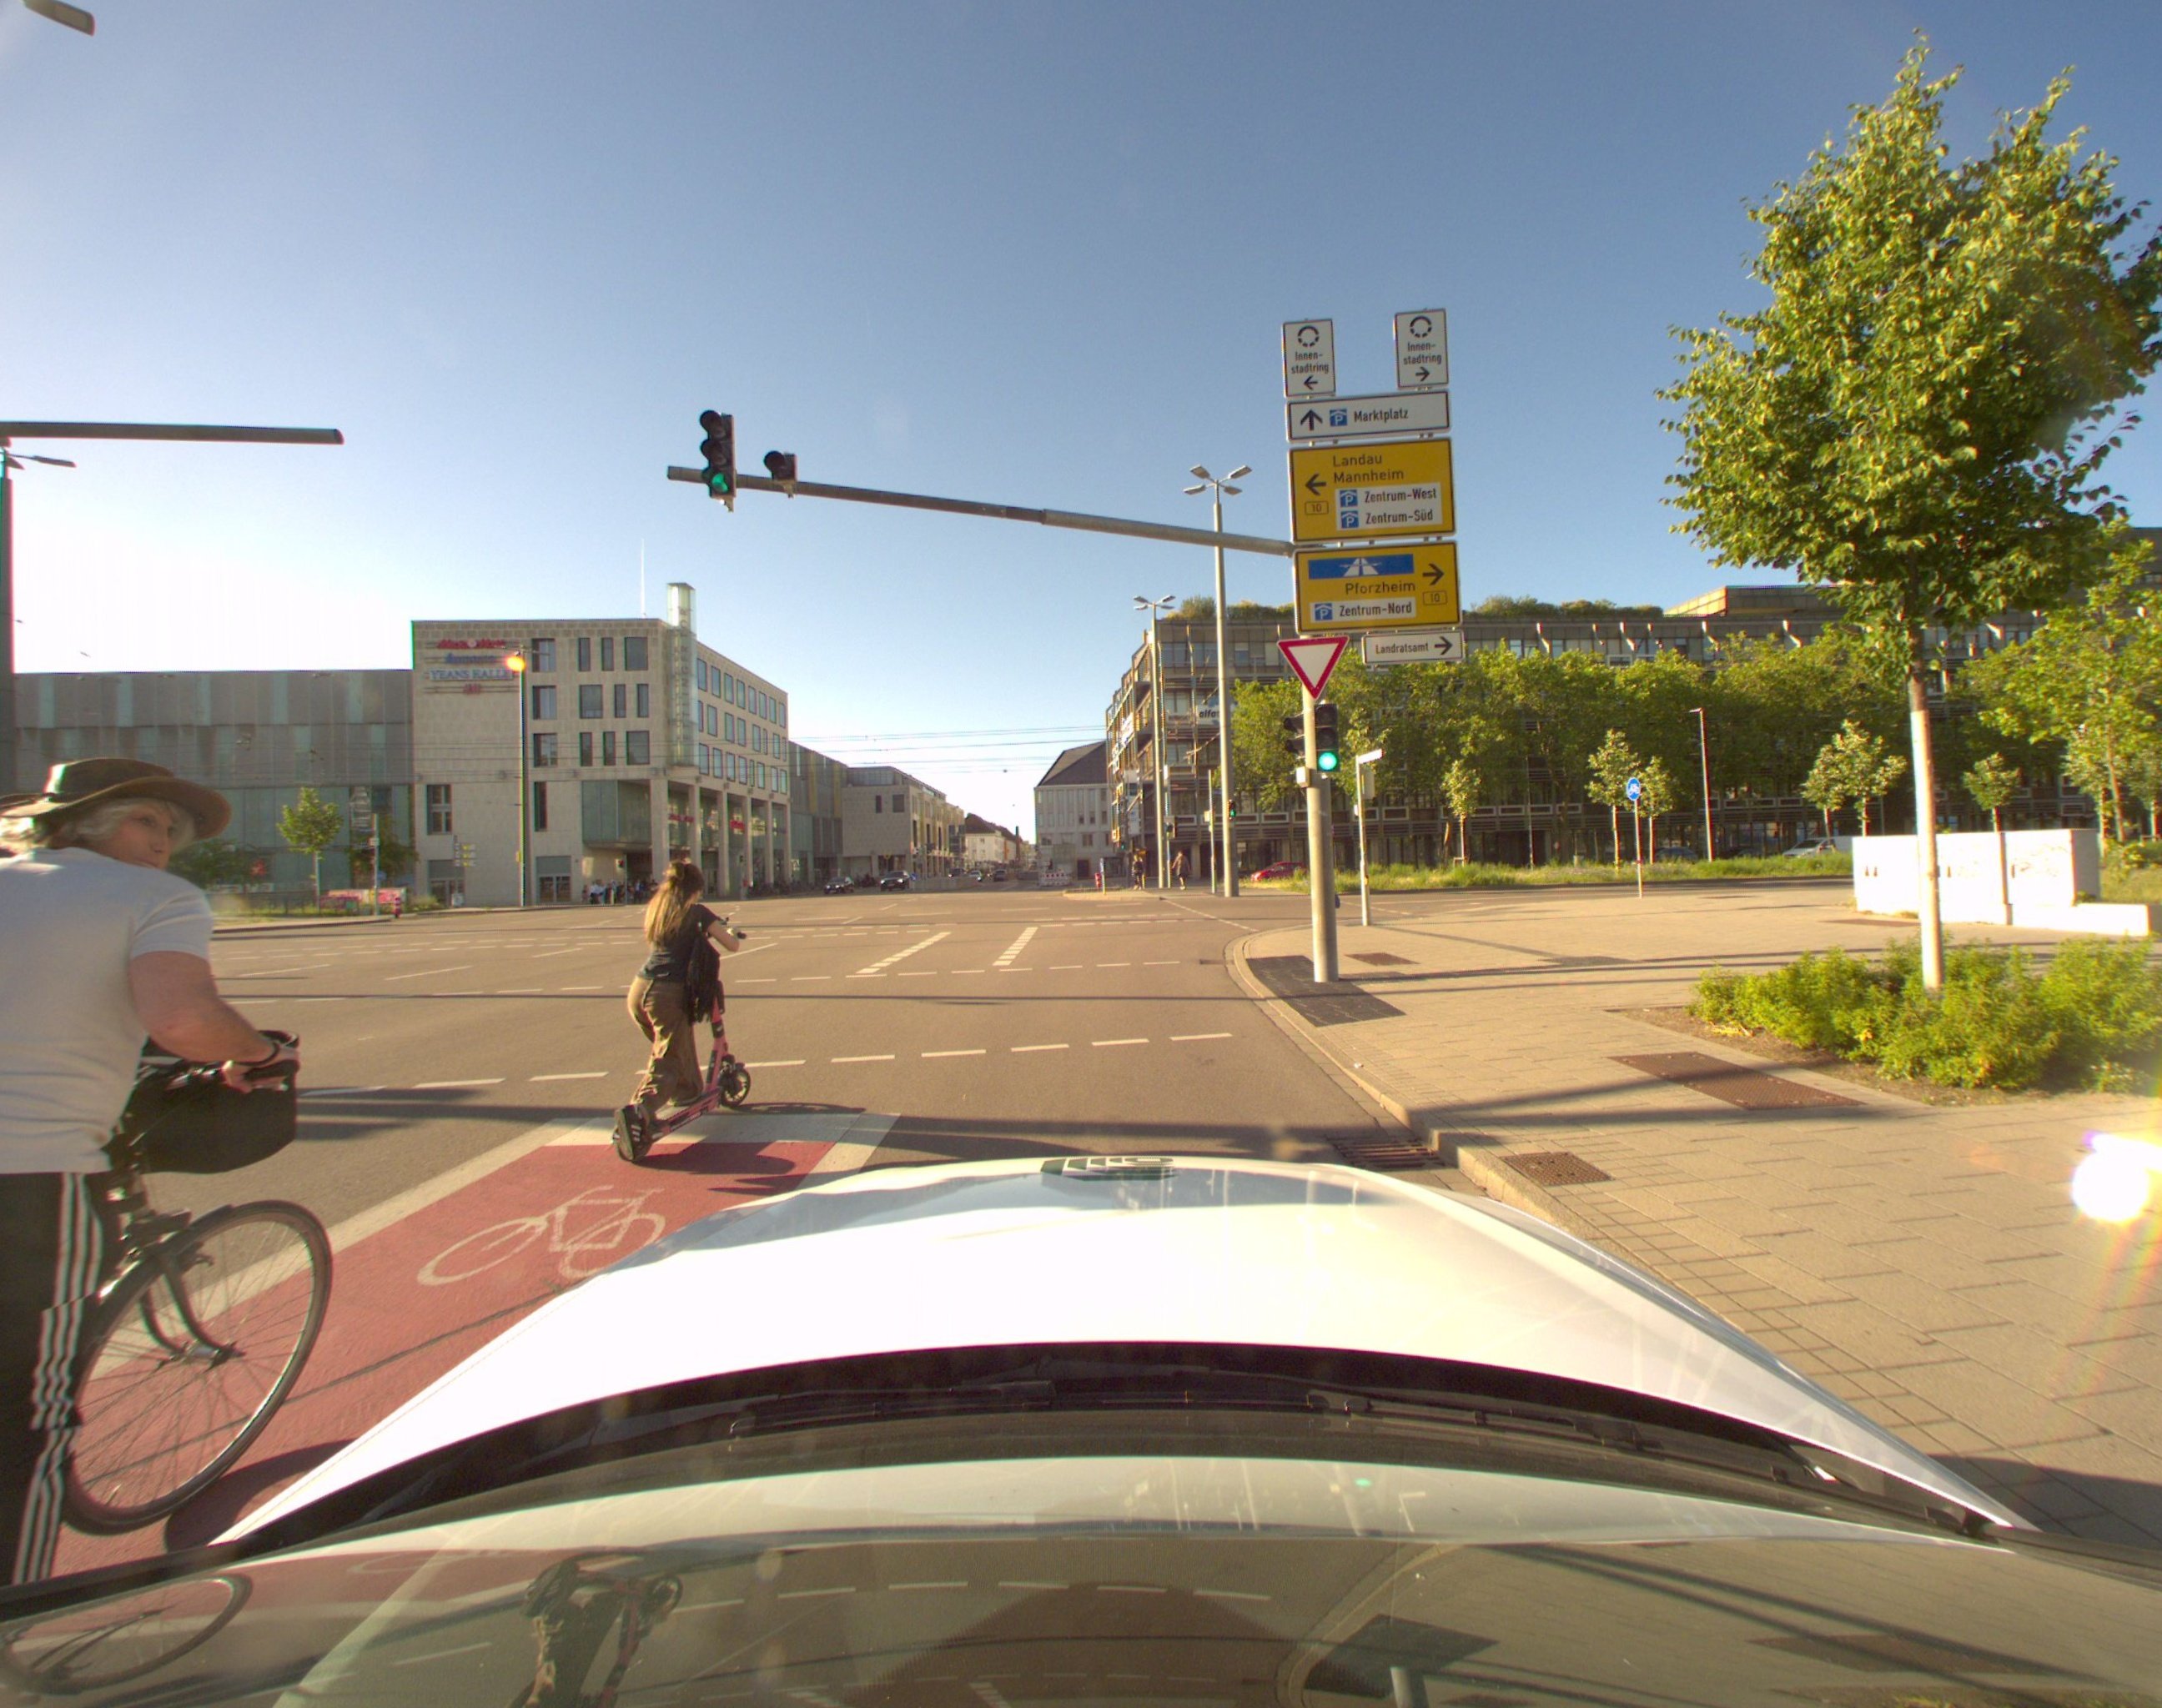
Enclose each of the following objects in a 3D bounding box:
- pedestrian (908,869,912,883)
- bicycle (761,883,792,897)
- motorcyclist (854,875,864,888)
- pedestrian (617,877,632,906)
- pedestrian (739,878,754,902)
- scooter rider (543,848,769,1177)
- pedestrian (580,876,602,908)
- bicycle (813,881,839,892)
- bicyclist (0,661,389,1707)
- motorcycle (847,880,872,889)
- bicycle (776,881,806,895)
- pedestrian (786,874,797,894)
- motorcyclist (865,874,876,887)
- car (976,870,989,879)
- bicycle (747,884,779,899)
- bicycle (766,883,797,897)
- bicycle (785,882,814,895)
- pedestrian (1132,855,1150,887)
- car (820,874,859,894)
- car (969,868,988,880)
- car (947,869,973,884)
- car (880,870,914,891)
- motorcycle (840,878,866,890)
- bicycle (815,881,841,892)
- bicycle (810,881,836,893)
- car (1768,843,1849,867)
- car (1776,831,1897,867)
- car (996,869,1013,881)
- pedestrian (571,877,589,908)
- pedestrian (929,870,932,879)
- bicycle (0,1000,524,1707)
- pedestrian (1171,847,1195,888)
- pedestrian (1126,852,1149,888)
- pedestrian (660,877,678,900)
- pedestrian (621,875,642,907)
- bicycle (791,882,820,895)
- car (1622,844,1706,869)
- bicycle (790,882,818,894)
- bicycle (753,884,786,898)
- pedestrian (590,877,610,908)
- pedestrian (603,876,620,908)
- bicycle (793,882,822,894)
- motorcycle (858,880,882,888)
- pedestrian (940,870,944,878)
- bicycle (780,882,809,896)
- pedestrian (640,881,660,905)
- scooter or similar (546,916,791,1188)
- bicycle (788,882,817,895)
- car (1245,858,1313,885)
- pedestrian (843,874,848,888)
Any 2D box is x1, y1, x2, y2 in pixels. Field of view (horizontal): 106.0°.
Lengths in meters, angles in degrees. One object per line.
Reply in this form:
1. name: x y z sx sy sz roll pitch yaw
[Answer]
1. pedestrian: -24.276 3.071 115.707 0.616 2.014 0.476 0 -1 -13
2. bicycle: -26.391 3.141 70.616 2.456 1.111 0.685 -2 -1 4
3. motorcyclist: -25.528 3.121 93.672 1.034 1.471 0.915 0 -1 -5
4. pedestrian: -32.349 2.651 57.713 0.920 2.014 1.014 -1 -1 -30
5. pedestrian: -25.155 2.680 61.276 0.748 1.740 0.756 -2 -1 -1
6. scooter rider: -2.229 0.753 4.421 0.640 1.544 1.116 -1 -1 -1
7. pedestrian: -33.683 2.607 56.032 0.893 2.124 0.946 -2 -1 -1
8. bicycle: -26.500 3.387 84.696 2.458 1.111 0.661 -2 -1 2
9. bicyclist: -2.070 0.540 1.612 0.697 1.669 0.786 -2 -1 -2
10. motorcycle: -25.444 3.519 93.682 2.663 0.996 0.914 0 -1 -5
11. bicycle: -26.052 3.071 73.209 2.458 1.111 0.684 -2 -1 2
12. pedestrian: -29.675 3.107 83.473 0.949 1.982 1.000 -1 -1 -22
13. motorcyclist: -25.110 3.150 97.148 1.135 1.575 0.915 0 -1 -5
14. car: -20.625 4.295 170.636 2.168 1.873 5.610 -2 -1 -2
15. bicycle: -26.510 3.111 67.906 2.393 1.113 0.658 -2 -1 1
16. bicycle: -26.267 3.138 71.422 2.458 1.111 0.684 -2 -1 2
17. bicycle: -26.246 3.236 76.000 2.458 1.111 0.684 -2 -1 2
18. pedestrian: 3.686 1.032 50.312 1.008 1.911 1.051 -2 -1 2
19. car: -20.491 2.528 69.206 1.931 1.581 4.294 -2 -1 0
20. car: -15.123 3.000 120.359 2.167 1.692 5.612 -2 -1 -1
21. car: -14.937 2.803 100.603 2.166 1.692 5.488 -2 -1 2
22. car: -15.233 2.171 67.577 1.933 1.677 4.290 -2 -1 -2
23. motorcycle: -25.579 3.368 91.322 2.663 1.217 0.914 0 -1 -5
24. bicycle: -26.550 3.408 85.407 2.458 1.111 0.631 -2 -1 2
25. bicycle: -26.598 3.370 83.975 2.458 1.111 0.661 -2 -1 2
26. car: 53.168 0.069 59.554 4.601 1.557 1.746 -2 0 -6
27. car: 47.394 -0.289 51.153 5.680 2.014 2.262 -2 -3 -5
28. car: -10.098 2.743 107.277 1.931 1.450 4.259 -2 -2 -1
29. pedestrian: -34.976 2.693 56.854 0.900 2.124 0.939 -1 -1 -25
30. pedestrian: -22.535 3.086 122.017 0.487 1.356 0.563 0 -1 -4
31. bicycle: -2.058 0.997 1.587 0.705 1.094 1.799 -2 -1 -1
32. pedestrian: 4.475 0.585 35.819 0.854 1.744 0.738 -2 0 -6
33. pedestrian: 2.566 0.725 36.935 0.894 1.549 0.922 -2 1 -4
34. pedestrian: -28.928 2.444 57.139 0.951 1.571 0.831 -1 -1 -40
35. pedestrian: -31.270 2.555 56.703 1.069 2.129 1.085 -1 -1 -40
36. bicycle: -26.267 3.256 77.619 2.458 1.111 0.835 -2 -1 2
37. car: 42.042 0.172 58.771 4.848 1.680 1.995 -1 0 -7
38. bicycle: -26.754 3.282 78.570 2.458 1.111 0.684 -2 -1 2
39. bicycle: -26.485 3.116 69.252 2.458 1.111 0.684 -2 -1 2
40. pedestrian: -33.857 2.693 57.329 0.895 2.124 0.944 -1 -1 -9
41. pedestrian: -32.113 2.568 55.715 0.902 2.124 0.936 -1 -2 -37
42. bicycle: -26.802 3.304 79.824 2.458 1.111 0.835 -2 -1 2
43. motorcycle: -25.131 3.576 97.124 2.663 0.996 0.914 0 -1 -5
44. pedestrian: -22.337 3.238 130.972 0.487 1.356 0.563 0 -1 -4
45. bicycle: -26.283 3.214 74.774 2.458 1.111 0.594 -2 -1 2
46. pedestrian: -30.747 2.789 58.082 1.013 1.651 0.937 -1 -2 -43
47. scooter or similar: -2.221 0.995 4.604 0.640 1.175 1.483 -1 -1 -1
48. bicycle: -26.281 3.242 76.777 2.458 1.111 0.684 -2 -1 2
49. car: 12.635 1.145 52.101 3.855 1.486 1.845 -2 -4 0
50. pedestrian: -32.630 3.749 112.864 0.616 2.014 0.476 0 -1 -13
